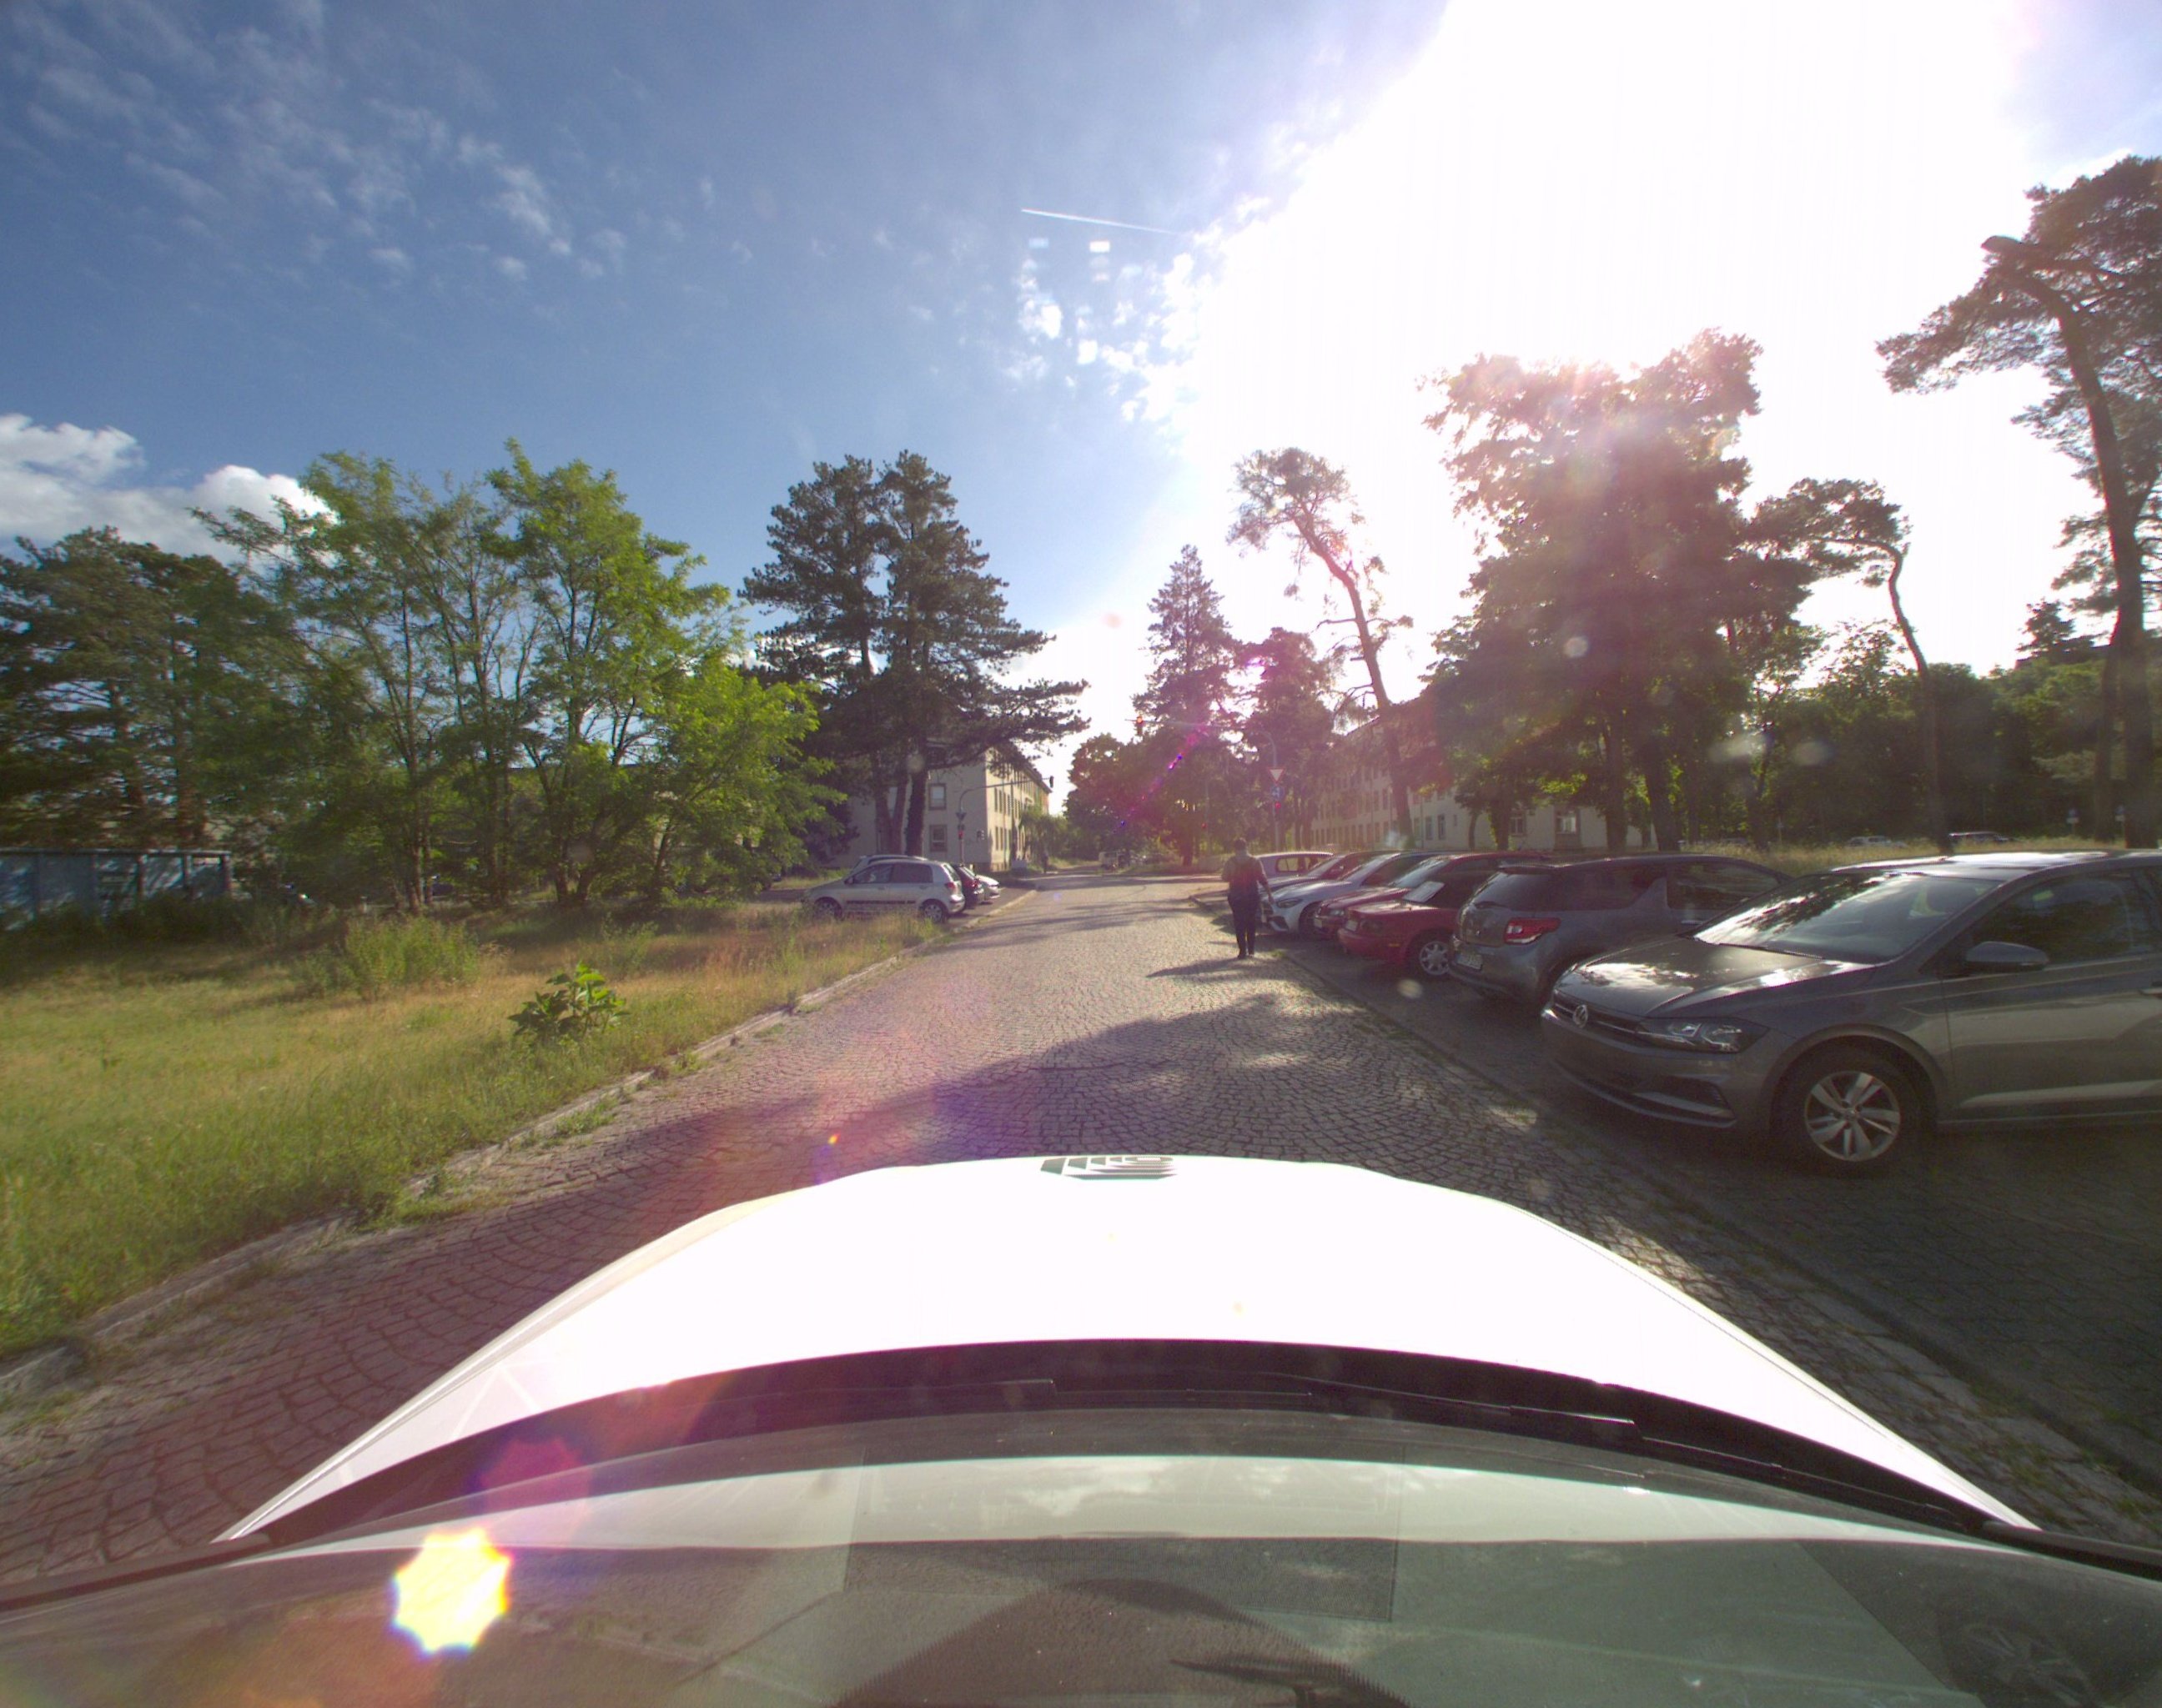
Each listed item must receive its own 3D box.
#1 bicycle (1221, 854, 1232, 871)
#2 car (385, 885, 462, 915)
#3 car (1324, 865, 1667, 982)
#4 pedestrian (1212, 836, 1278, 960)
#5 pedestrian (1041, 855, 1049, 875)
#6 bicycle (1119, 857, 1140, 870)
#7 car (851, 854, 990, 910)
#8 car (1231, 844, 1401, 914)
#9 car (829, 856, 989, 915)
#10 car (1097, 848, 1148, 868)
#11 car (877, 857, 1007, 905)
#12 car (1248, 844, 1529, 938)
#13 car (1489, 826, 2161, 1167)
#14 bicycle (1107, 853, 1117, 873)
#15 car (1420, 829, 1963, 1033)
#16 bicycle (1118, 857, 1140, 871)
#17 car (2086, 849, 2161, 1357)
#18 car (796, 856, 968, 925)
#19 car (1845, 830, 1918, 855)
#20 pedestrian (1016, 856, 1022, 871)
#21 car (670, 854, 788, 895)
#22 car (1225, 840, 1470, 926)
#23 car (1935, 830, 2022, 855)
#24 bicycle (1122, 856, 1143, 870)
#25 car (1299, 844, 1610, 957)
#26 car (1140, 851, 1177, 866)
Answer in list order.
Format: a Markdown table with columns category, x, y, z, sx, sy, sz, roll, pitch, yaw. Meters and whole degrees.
| category | x | y | z | sx | sy | sz | roll | pitch | yaw |
| --- | --- | --- | --- | --- | --- | --- | --- | --- | --- |
| bicycle | 10.194 | 0.557 | 57.007 | 0.717 | 1.115 | 2.592 | -2 | 0 | 12 |
| car | -45.910 | 3.185 | 56.959 | 1.856 | 1.778 | 4.008 | -2 | 0 | 5 |
| car | 4.957 | 0.805 | 10.074 | 3.447 | 1.242 | 1.537 | -1 | 0 | 2 |
| pedestrian | 2.414 | 0.629 | 12.091 | 0.750 | 1.725 | 0.829 | 3 | 0 | 2 |
| pedestrian | -3.144 | 0.967 | 70.682 | 0.604 | 1.752 | 0.630 | -1 | 0 | 1 |
| bicycle | 4.150 | 0.811 | 69.625 | 1.722 | 1.112 | 0.484 | -2 | 0 | -2 |
| car | -4.839 | 0.835 | 24.910 | 3.866 | 1.615 | 1.661 | 1 | 0 | 0 |
| car | 5.694 | 0.585 | 20.051 | 3.659 | 1.443 | 1.666 | -3 | 0 | 2 |
| car | -4.602 | 0.825 | 22.151 | 3.924 | 1.445 | 1.691 | 2 | 0 | 0 |
| car | 4.401 | 0.429 | 86.979 | 5.063 | 1.918 | 1.995 | -2 | 0 | -8 |
| car | -4.650 | 0.870 | 27.565 | 3.966 | 1.496 | 1.776 | 1 | 0 | 6 |
| car | 5.419 | 0.636 | 14.775 | 4.384 | 1.388 | 1.789 | -3 | 0 | 0 |
| car | 4.656 | 0.650 | 4.612 | 3.765 | 1.450 | 1.759 | -3 | 0 | 3 |
| bicycle | 2.513 | 0.681 | 65.663 | 0.750 | 1.580 | 2.538 | -1 | 0 | 2 |
| car | 5.299 | 0.629 | 7.456 | 3.649 | 1.455 | 1.667 | -3 | 0 | 2 |
| bicycle | 4.061 | 0.812 | 69.082 | 1.829 | 1.112 | 0.495 | -2 | 0 | -2 |
| car | 4.941 | 0.678 | 1.670 | 3.630 | 1.492 | 1.635 | -2 | 0 | 2 |
| car | -4.673 | 0.847 | 19.487 | 3.674 | 1.527 | 1.699 | 1 | 0 | -1 |
| car | 59.873 | -0.849 | 60.948 | 3.619 | 1.671 | 1.769 | -2 | 0 | 4 |
| pedestrian | -6.343 | 0.940 | 83.319 | 0.606 | 1.560 | 0.544 | -1 | 0 | -5 |
| car | -15.115 | 0.862 | 35.087 | 4.127 | 1.608 | 2.011 | -2 | 0 | 3 |
| car | 5.588 | 0.582 | 17.514 | 4.605 | 1.455 | 1.869 | -4 | 0 | -1 |
| car | 58.848 | -0.756 | 53.441 | 3.619 | 1.497 | 1.769 | -2 | 0 | 4 |
| bicycle | 4.410 | 0.769 | 70.300 | 1.722 | 1.164 | 0.561 | -2 | 0 | -2 |
| car | 5.543 | 0.667 | 12.450 | 3.965 | 1.448 | 1.656 | -2 | 0 | 1 |
| car | 8.626 | 0.445 | 90.802 | 3.738 | 1.580 | 1.738 | -1 | 0 | -6 |
